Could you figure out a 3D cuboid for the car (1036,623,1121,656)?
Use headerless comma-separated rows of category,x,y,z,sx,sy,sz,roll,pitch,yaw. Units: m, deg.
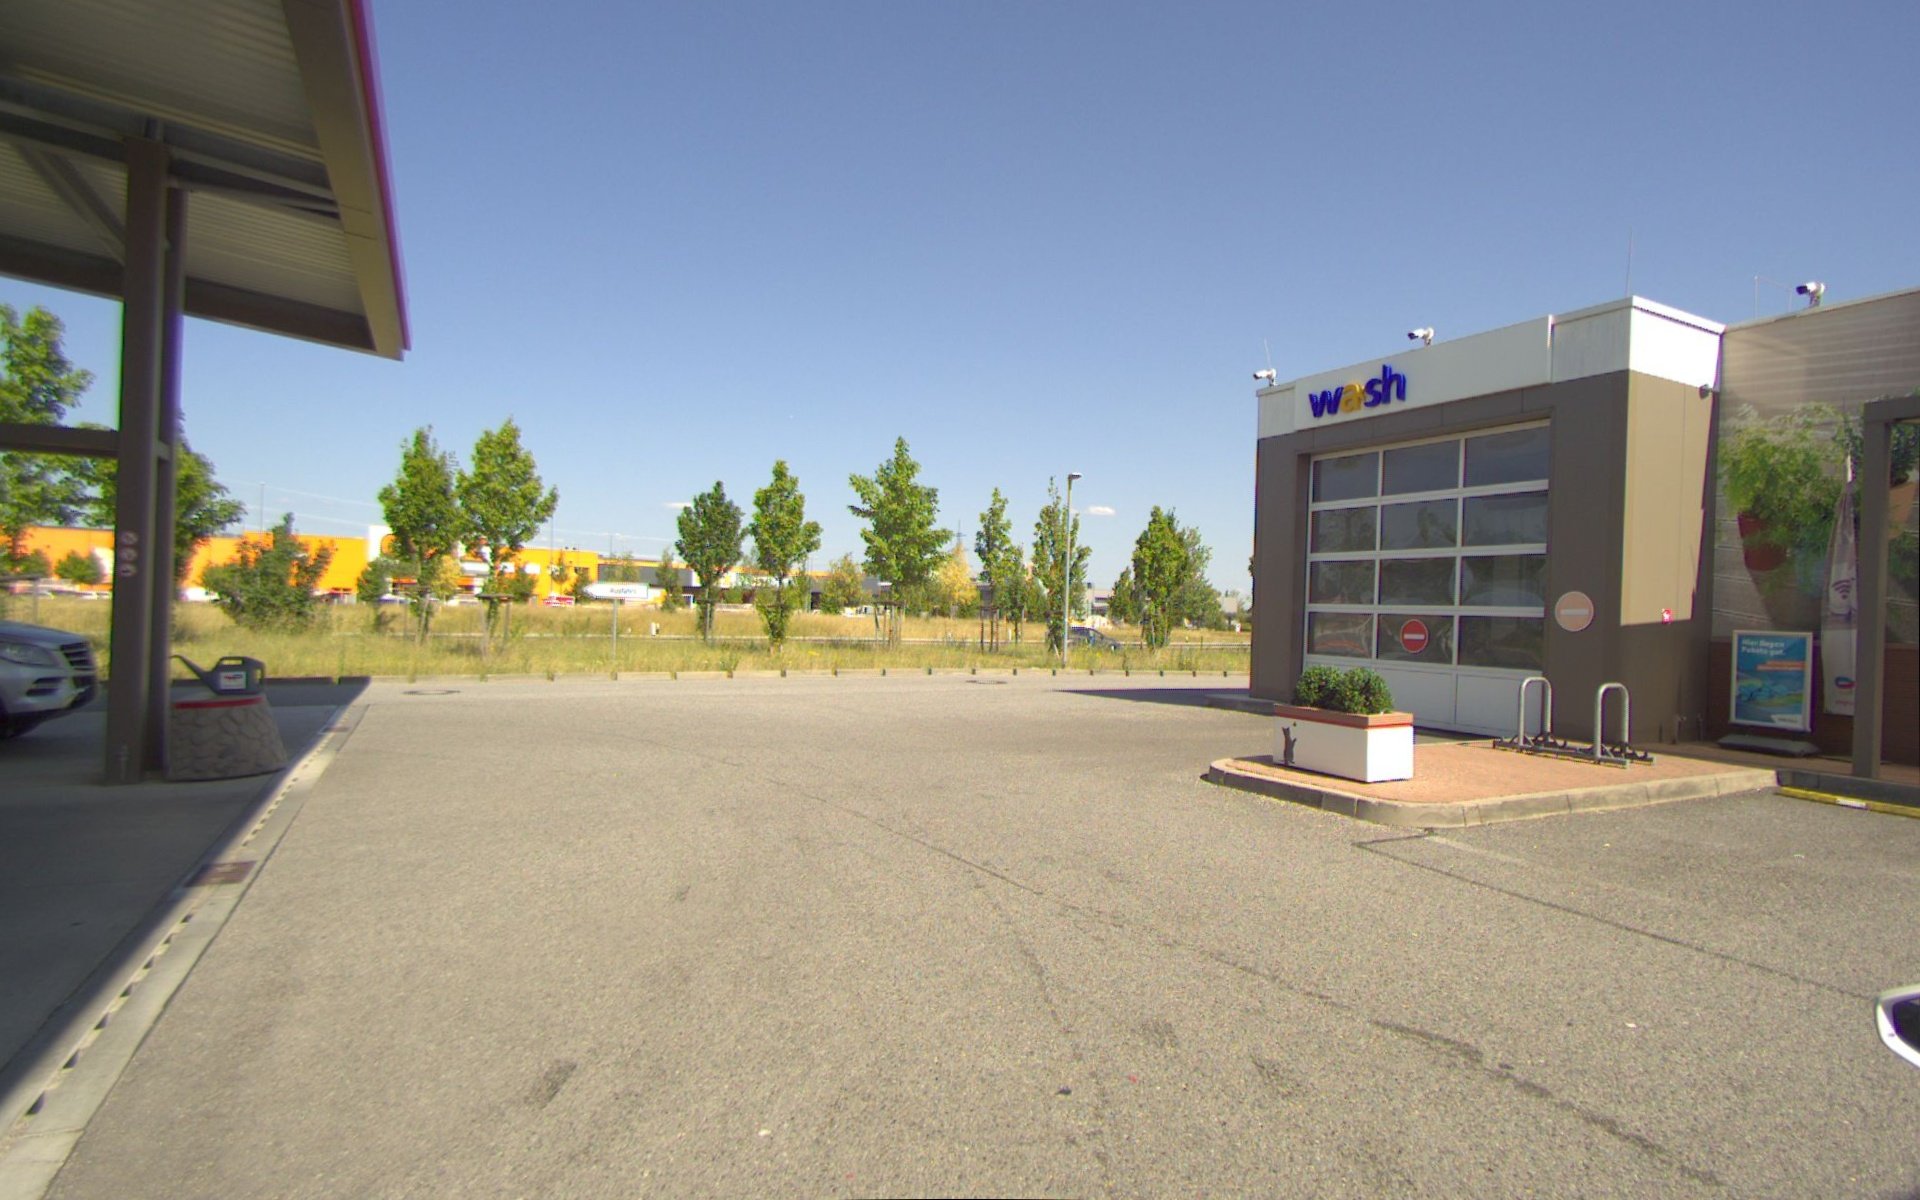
car,6.607,2.195,55.914,4.524,1.774,1.777,2,0,-29

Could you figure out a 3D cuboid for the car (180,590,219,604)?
car,-77.630,-0.317,102.615,2.907,1.316,1.476,2,-1,-26

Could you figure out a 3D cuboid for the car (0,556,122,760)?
car,-9.998,0.444,8.267,4.485,1.710,1.849,1,0,-32
